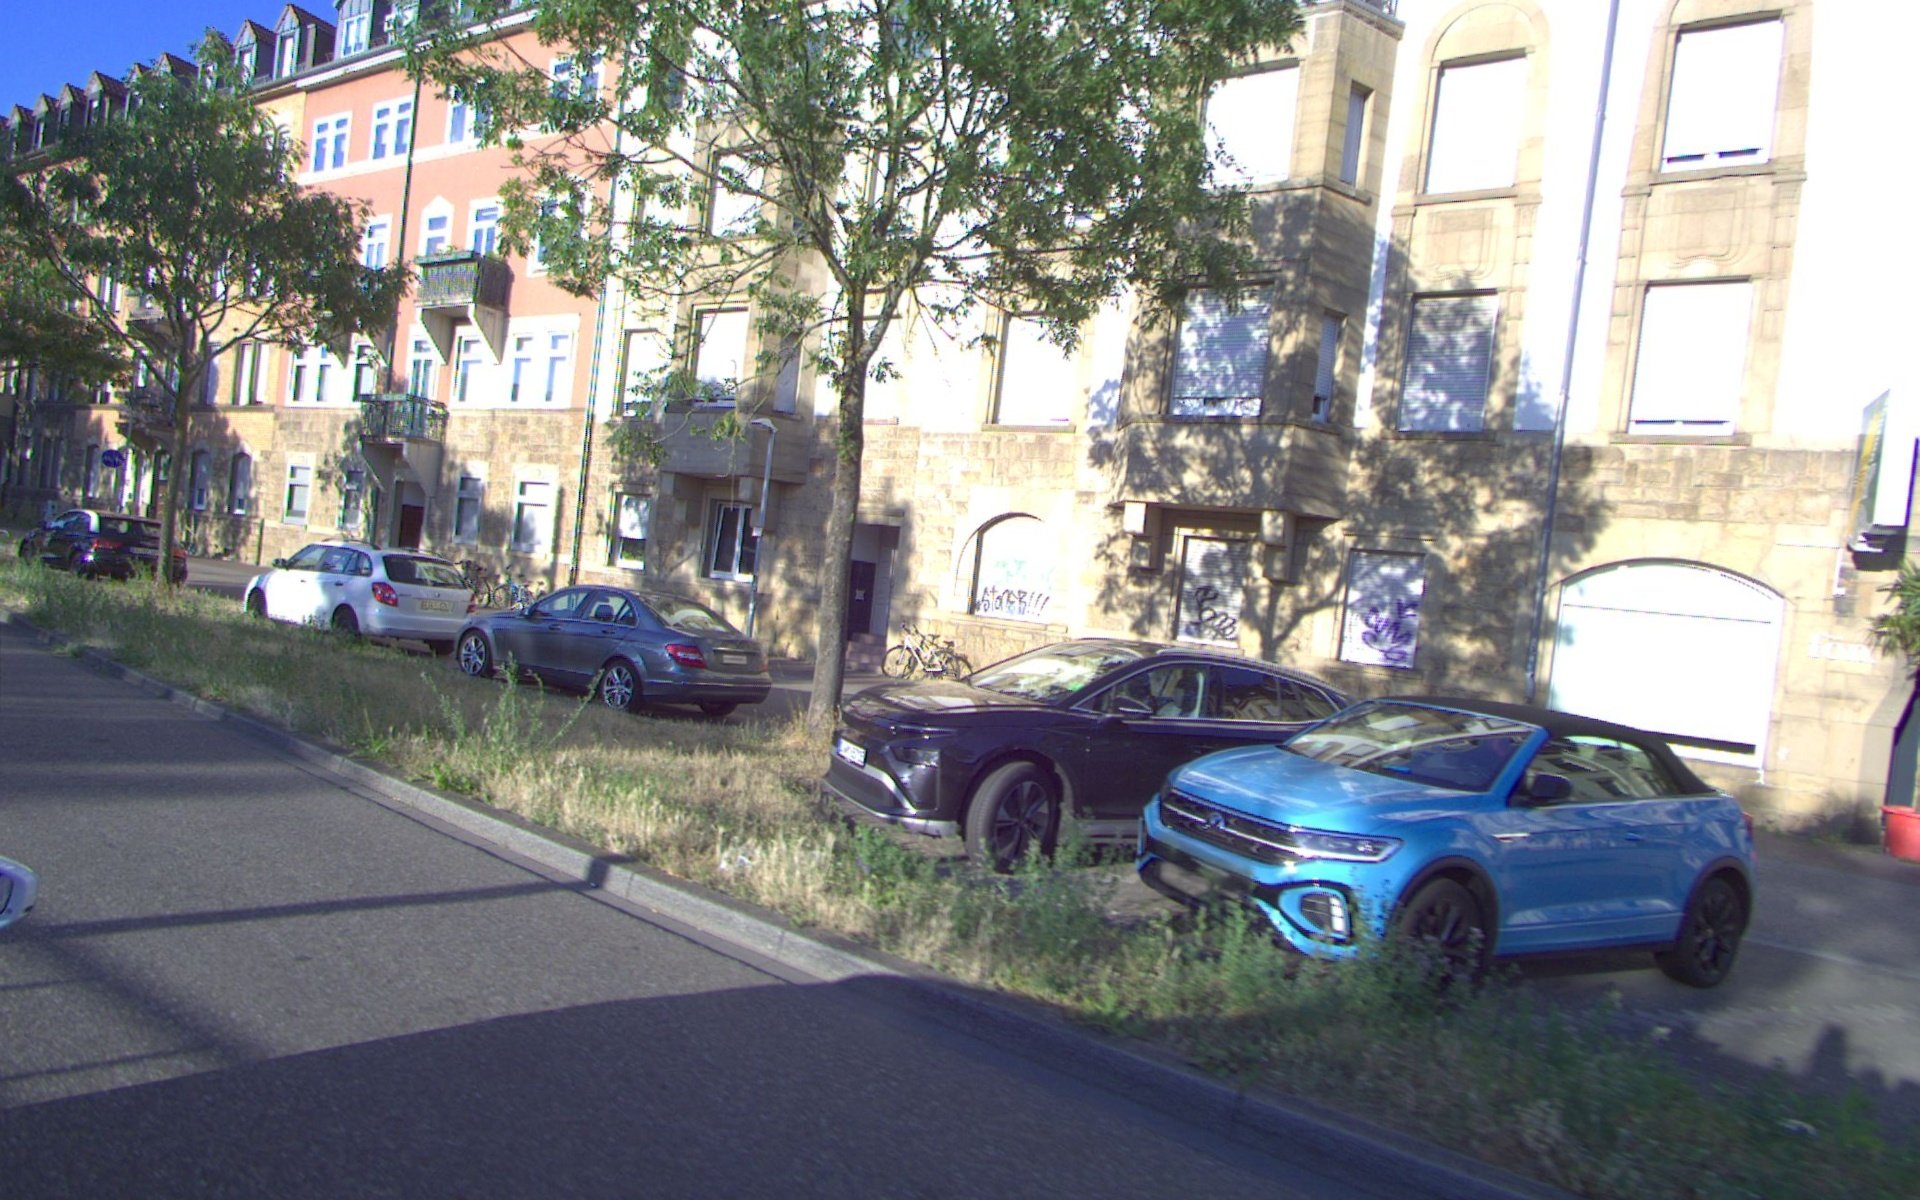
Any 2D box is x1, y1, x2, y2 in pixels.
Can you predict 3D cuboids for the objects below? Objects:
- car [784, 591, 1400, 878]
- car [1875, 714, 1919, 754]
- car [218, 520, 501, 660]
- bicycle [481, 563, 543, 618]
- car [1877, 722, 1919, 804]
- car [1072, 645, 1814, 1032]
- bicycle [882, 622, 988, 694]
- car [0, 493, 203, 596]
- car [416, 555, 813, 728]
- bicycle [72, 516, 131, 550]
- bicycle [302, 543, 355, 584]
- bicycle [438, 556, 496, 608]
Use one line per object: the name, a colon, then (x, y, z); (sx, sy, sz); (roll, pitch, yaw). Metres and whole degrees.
car: (1.094, 1.078, 7.797); (4.297, 1.589, 1.986); (9, -1, -30)
car: (43.682, 6.191, 44.825); (1.854, 1.559, 3.971); (7, 0, -40)
car: (-9.194, -0.173, 15.336); (4.200, 1.529, 1.731); (7, -3, 30)
bicycle: (-11.107, -0.244, 24.939); (1.717, 1.182, 0.483); (7, 6, 31)
car: (19.571, 3.333, 19.233); (1.966, 1.484, 3.994); (9, 1, 29)
car: (3.026, 1.332, 6.180); (4.238, 1.540, 1.834); (8, -1, -28)
bicycle: (-0.485, 1.070, 18.861); (1.864, 1.087, 0.573); (7, 1, 30)
car: (-17.156, -1.126, 20.057); (4.217, 1.464, 1.708); (7, -3, 31)
car: (-4.448, 0.495, 12.759); (4.825, 1.461, 1.951); (7, -3, 30)
bicycle: (-28.347, -2.220, 33.213); (2.050, 0.928, 0.872); (7, 2, 32)
bicycle: (-18.307, -1.063, 29.147); (1.717, 1.018, 0.484); (7, 0, 31)
bicycle: (-12.700, -0.477, 25.893); (1.717, 1.182, 0.483); (7, 6, 31)
